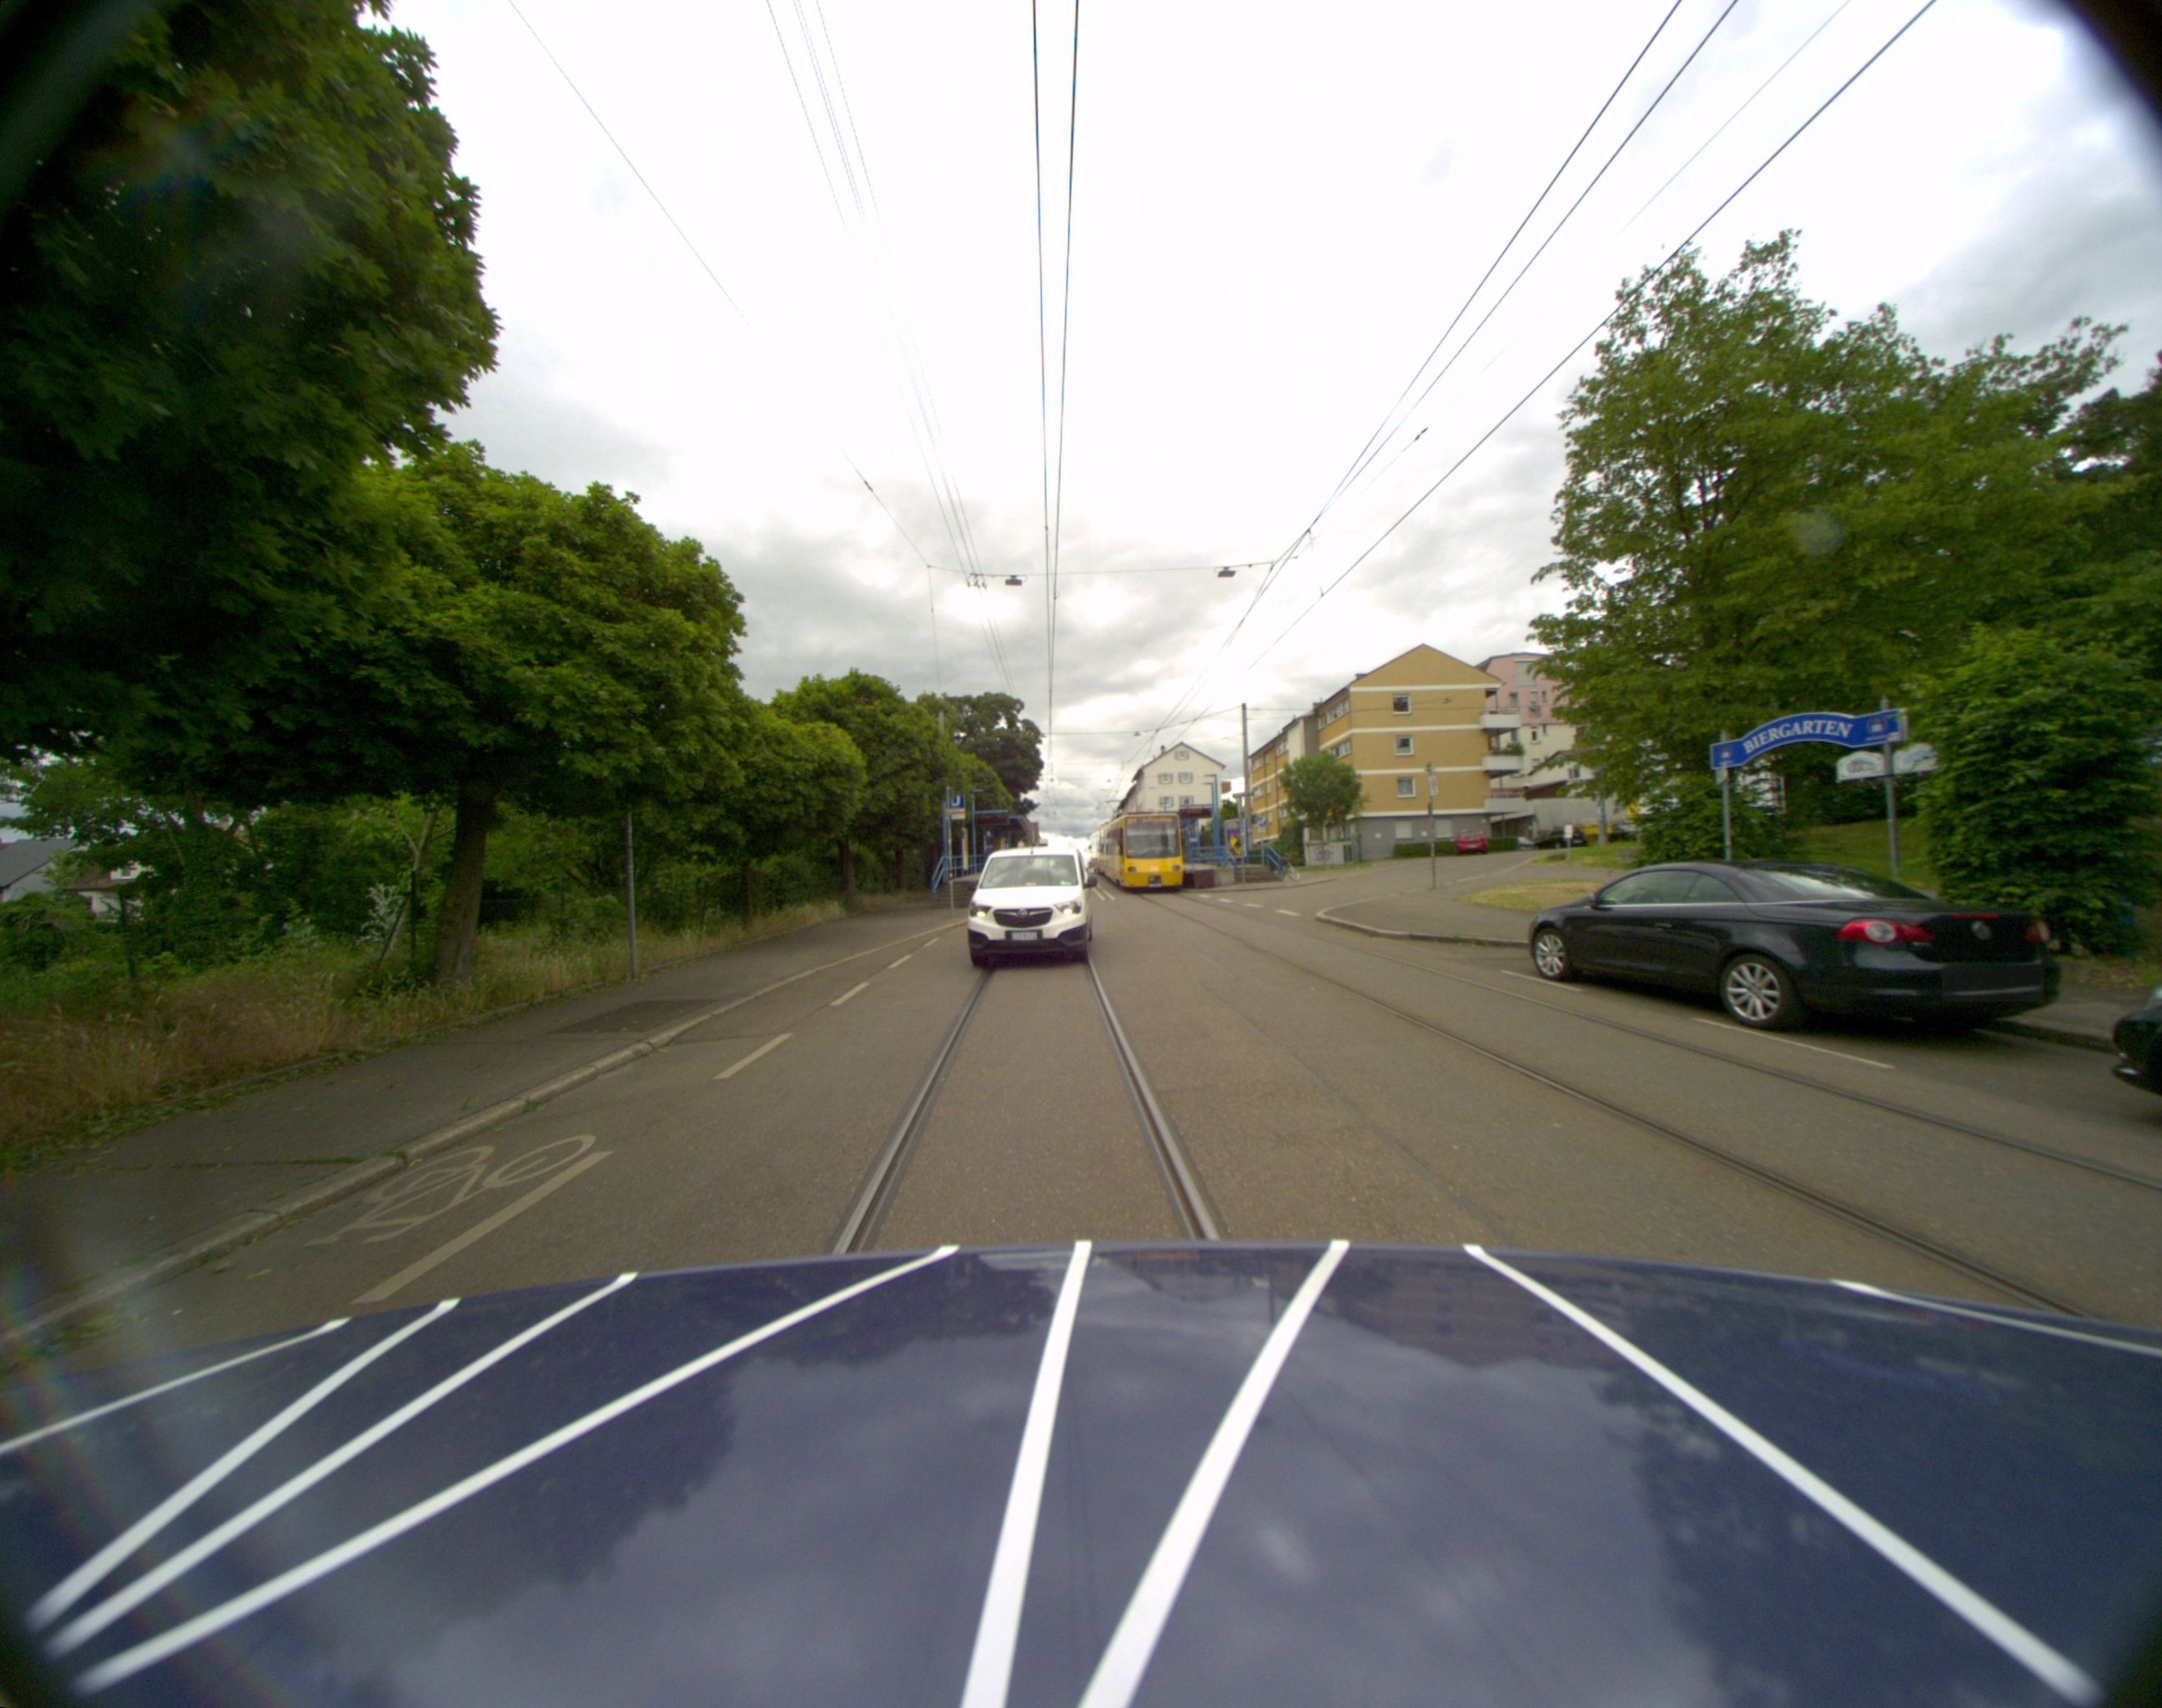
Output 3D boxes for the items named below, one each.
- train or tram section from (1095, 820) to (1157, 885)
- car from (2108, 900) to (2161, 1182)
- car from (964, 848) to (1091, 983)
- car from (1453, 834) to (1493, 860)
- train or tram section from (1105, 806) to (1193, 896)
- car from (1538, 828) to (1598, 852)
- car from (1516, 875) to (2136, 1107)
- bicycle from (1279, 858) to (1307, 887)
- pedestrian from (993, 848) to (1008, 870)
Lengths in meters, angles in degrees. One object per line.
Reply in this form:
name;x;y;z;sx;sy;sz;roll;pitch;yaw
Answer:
train or tram section;2.698;-0.068;49.551;2.831;3.615;12.127;-2;0;-2
car;6.354;0.937;1.777;1.845;1.379;4.438;-1;1;-2
car;-0.751;0.886;12.958;1.730;1.850;4.420;-2;0;0
car;23.626;-0.435;45.894;1.838;1.455;4.006;-2;0;24
train or tram section;3.014;-0.116;37.374;2.857;3.615;12.128;-2;0;-1
car;32.428;-0.917;50.736;1.840;1.455;4.002;-2;0;8
car;6.342;0.996;7.313;1.795;1.396;4.160;-1;1;-2
bicycle;8.968;0.779;32.214;0.713;1.174;1.488;-2;1;-1
pedestrian;-4.818;0.310;45.589;0.781;1.307;0.657;-2;1;-1
